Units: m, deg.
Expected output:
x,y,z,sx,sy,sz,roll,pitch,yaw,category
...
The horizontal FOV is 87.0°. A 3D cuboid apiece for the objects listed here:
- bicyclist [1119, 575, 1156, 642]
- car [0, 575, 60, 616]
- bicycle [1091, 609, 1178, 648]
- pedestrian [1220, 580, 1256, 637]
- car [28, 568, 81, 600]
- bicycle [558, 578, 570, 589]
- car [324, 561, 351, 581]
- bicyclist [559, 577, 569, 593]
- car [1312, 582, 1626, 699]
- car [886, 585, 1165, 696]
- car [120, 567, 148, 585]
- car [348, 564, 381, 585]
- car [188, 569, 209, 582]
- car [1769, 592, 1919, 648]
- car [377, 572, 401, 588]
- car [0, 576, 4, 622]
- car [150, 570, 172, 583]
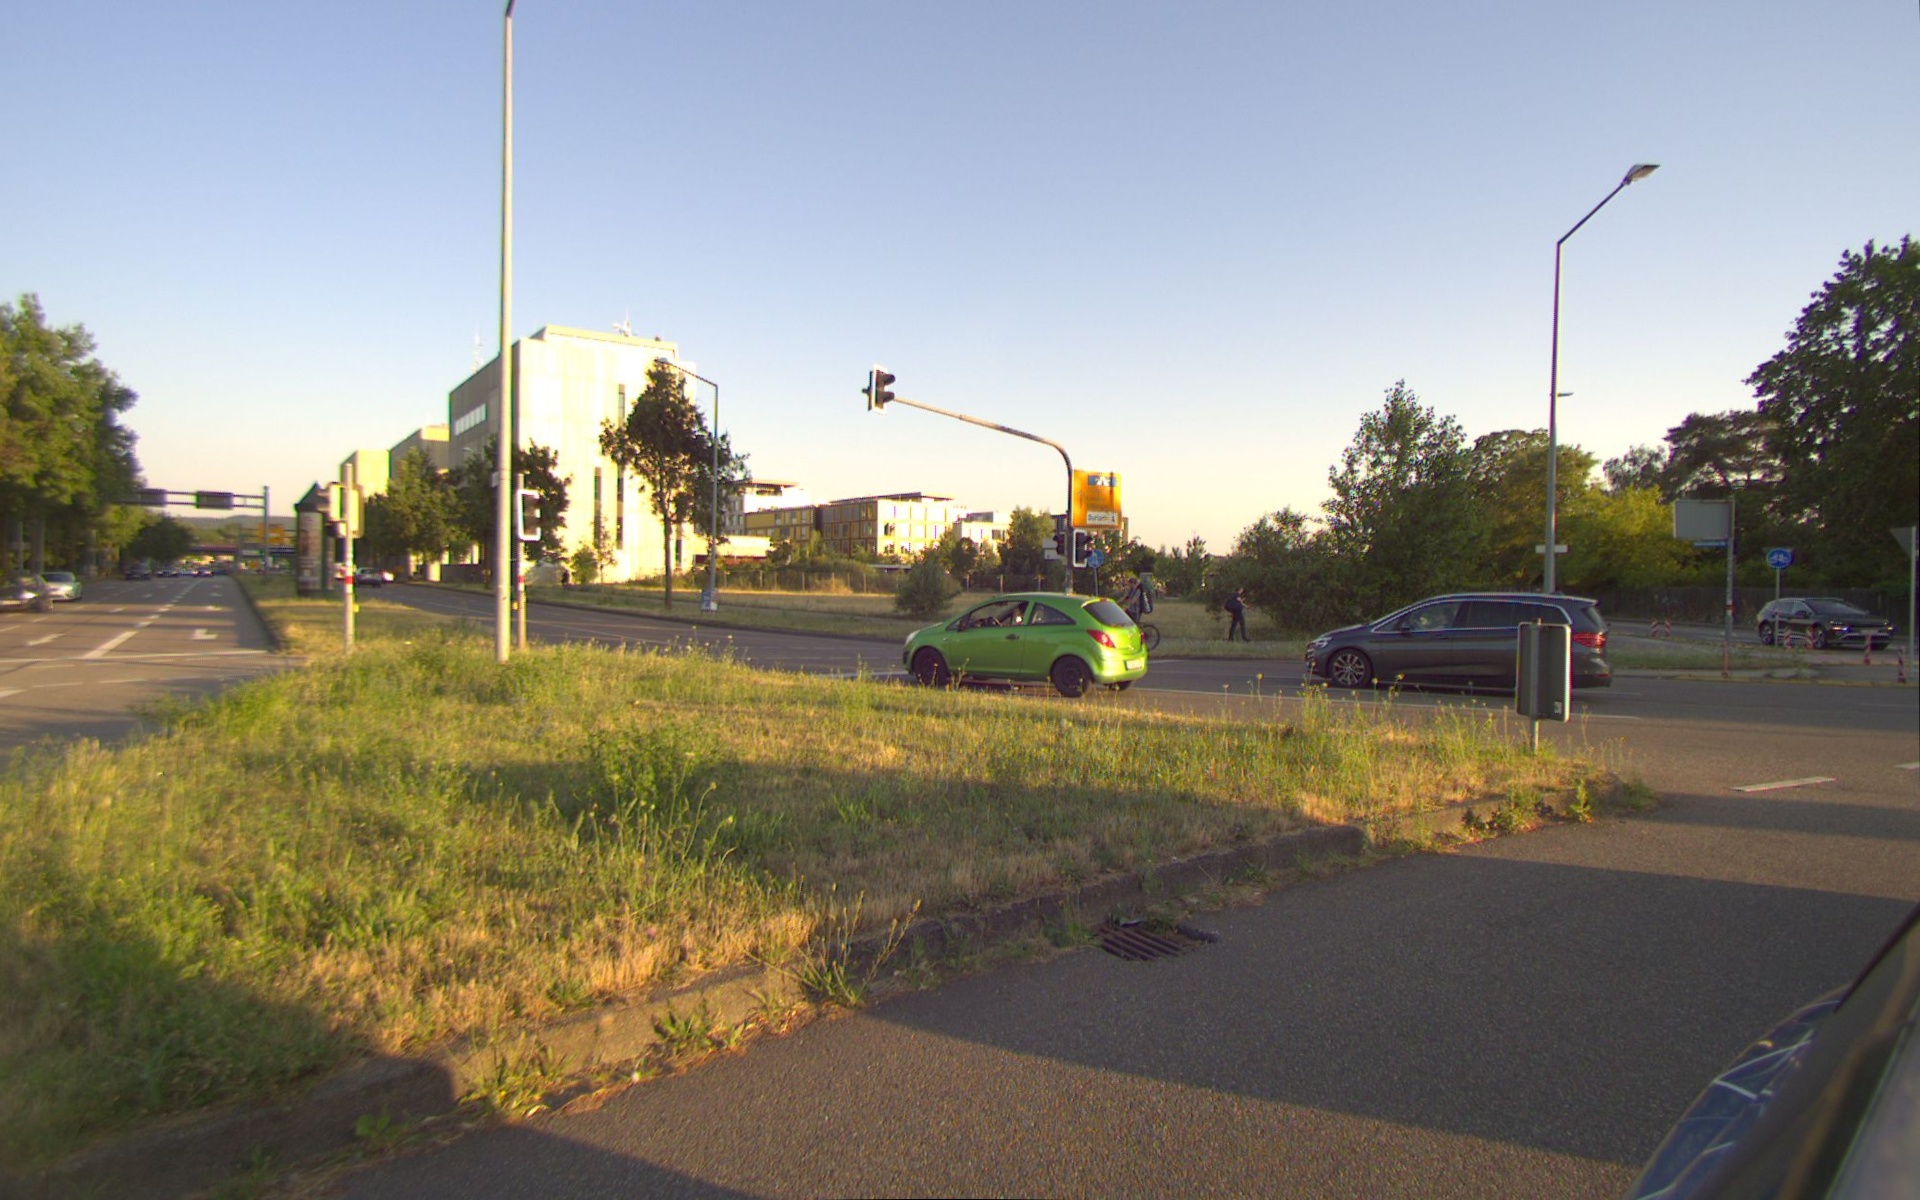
x,y,z,sx,sy,sz,roll,pitch,yaw,category
4.605,0.211,26.269,0.674,1.711,0.727,1,1,-13,bicyclist
-36.230,-0.209,39.100,1.833,1.472,4.161,0,1,-37,car
4.532,0.734,26.248,2.100,0.975,0.711,1,1,-15,bicycle
8.093,0.233,29.449,0.978,1.610,0.922,1,1,16,pedestrian
-43.532,-0.808,48.688,1.836,1.472,3.965,0,1,-42,car
-31.084,-1.262,79.427,0.487,0.837,1.515,0,1,-35,bicycle
-64.973,-3.015,105.572,2.029,1.971,4.961,0,1,-35,car
-31.063,-1.159,79.392,0.606,1.272,0.735,0,1,-34,bicyclist
8.068,0.543,16.241,4.297,1.597,1.714,2,1,33,car
0.927,0.520,15.429,3.974,1.438,1.669,2,1,35,car
-77.324,-2.251,94.765,1.880,1.603,4.179,0,1,-37,car
-47.920,-2.036,81.439,1.962,1.649,4.000,0,1,-35,car
-93.639,-3.064,124.436,1.963,1.524,4.771,0,1,-36,car
28.680,0.582,32.782,1.967,1.617,4.303,1,1,9,car
-54.788,-1.895,97.152,1.960,1.445,4.203,0,1,-30,car
-29.516,0.007,29.455,1.832,1.407,4.163,1,1,-35,car
-96.997,-2.888,122.808,1.964,1.524,4.616,-1,1,-39,car
